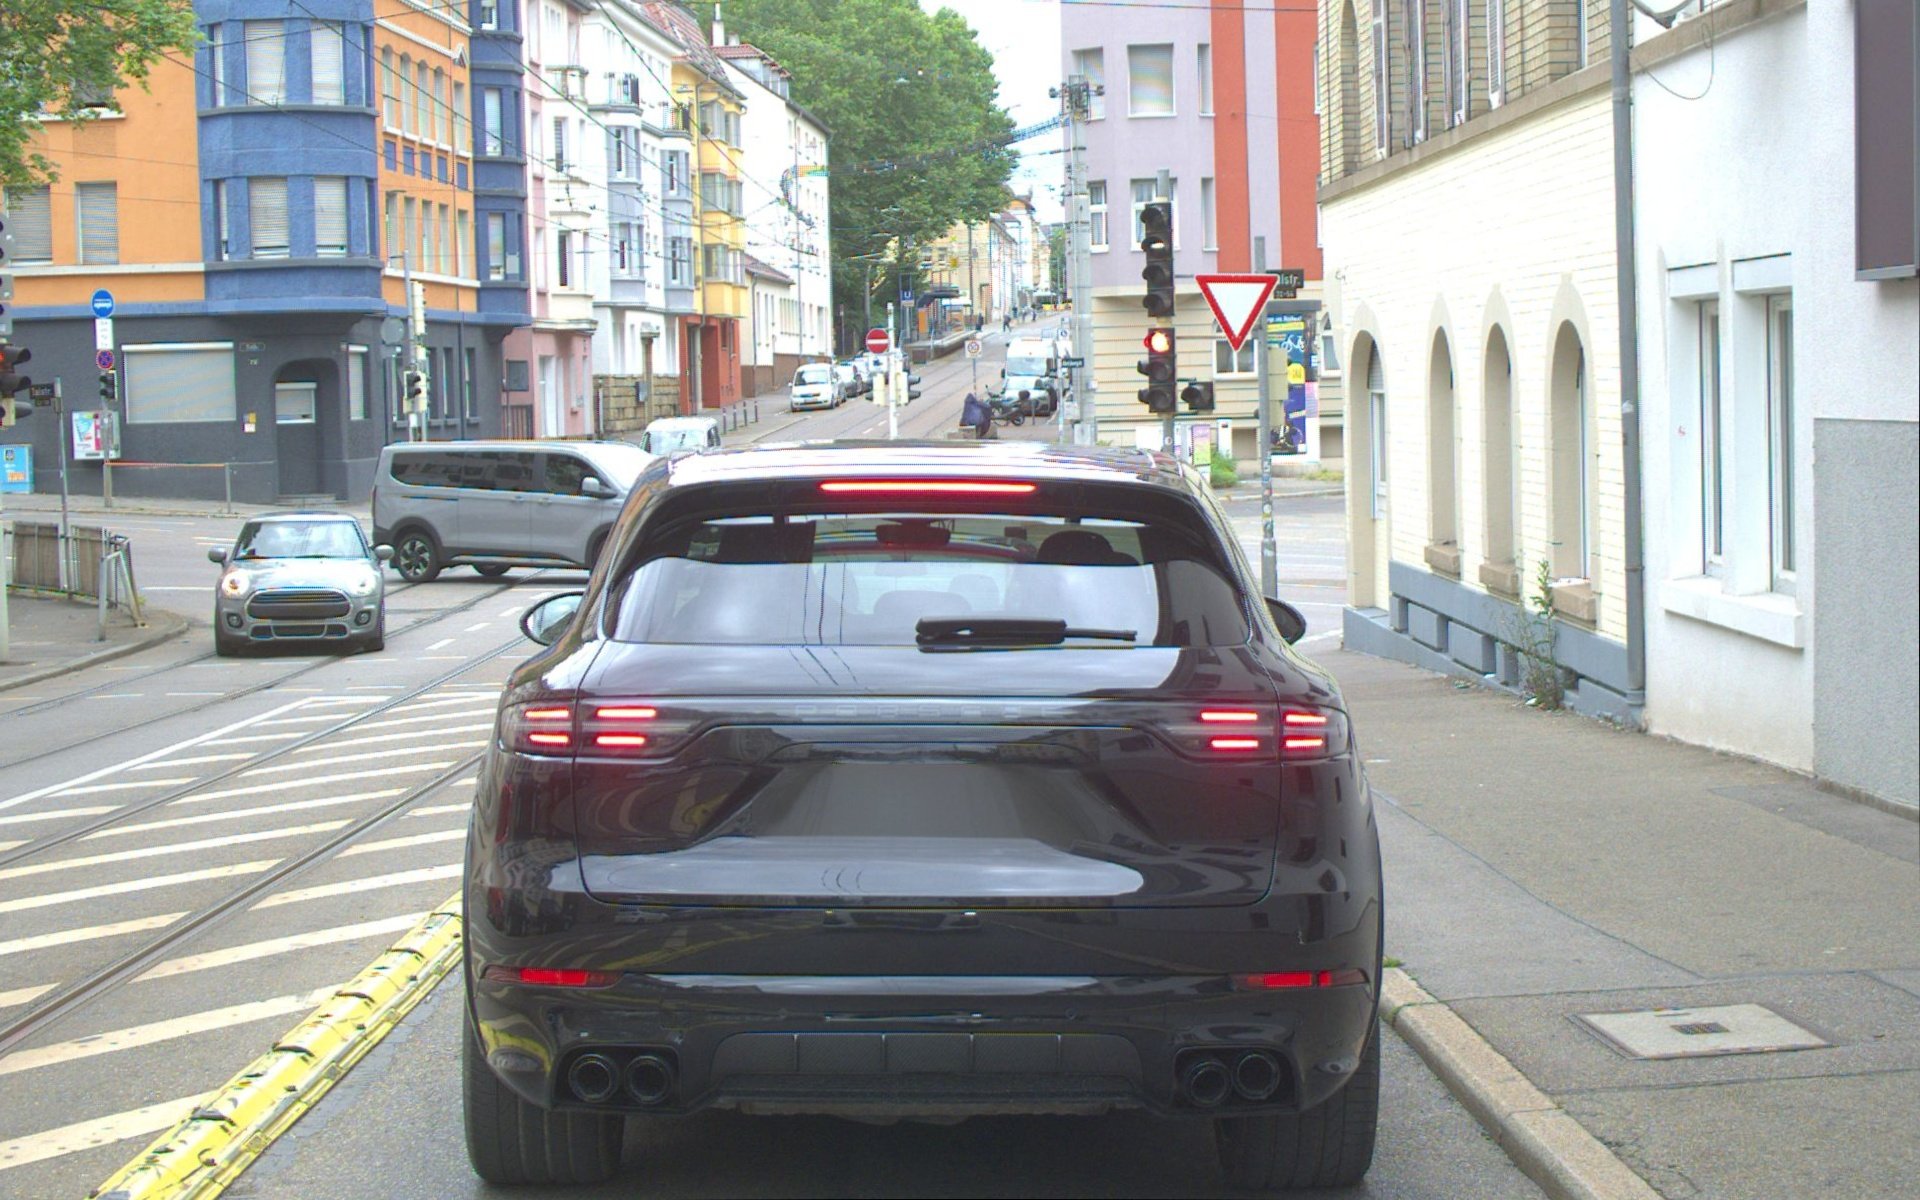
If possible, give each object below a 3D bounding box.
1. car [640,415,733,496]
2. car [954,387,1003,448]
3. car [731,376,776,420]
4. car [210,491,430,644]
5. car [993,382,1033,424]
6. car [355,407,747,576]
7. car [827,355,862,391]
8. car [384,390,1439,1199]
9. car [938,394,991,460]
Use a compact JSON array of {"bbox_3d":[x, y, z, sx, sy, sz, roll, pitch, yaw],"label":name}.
[{"bbox_3d":[-6.255,-3.296,78.908,1.751,1.753,4.254,-1,2,0],"label":"car"},{"bbox_3d":[0.533,-5.381,101.650,1.394,1.716,3.359,-1,2,0],"label":"car"},{"bbox_3d":[-7.496,-7.348,125.133,1.394,1.445,3.359,-1,2,0],"label":"car"},{"bbox_3d":[-6.695,-0.379,36.287,1.634,1.503,3.540,-1,2,0],"label":"car"},{"bbox_3d":[1.951,-7.241,126.620,1.394,1.445,3.359,-1,2,0],"label":"car"},{"bbox_3d":[-5.815,-1.489,48.789,5.296,2.233,1.997,0,-1,26],"label":"car"},{"bbox_3d":[-5.125,-10.047,152.380,1.394,1.445,3.359,-1,2,0],"label":"car"},{"bbox_3d":[-0.126,0.398,8.614,1.993,1.670,4.001,-1,2,-1],"label":"car"},{"bbox_3d":[0.123,-4.735,94.546,1.394,1.716,3.359,-1,2,0],"label":"car"}]
